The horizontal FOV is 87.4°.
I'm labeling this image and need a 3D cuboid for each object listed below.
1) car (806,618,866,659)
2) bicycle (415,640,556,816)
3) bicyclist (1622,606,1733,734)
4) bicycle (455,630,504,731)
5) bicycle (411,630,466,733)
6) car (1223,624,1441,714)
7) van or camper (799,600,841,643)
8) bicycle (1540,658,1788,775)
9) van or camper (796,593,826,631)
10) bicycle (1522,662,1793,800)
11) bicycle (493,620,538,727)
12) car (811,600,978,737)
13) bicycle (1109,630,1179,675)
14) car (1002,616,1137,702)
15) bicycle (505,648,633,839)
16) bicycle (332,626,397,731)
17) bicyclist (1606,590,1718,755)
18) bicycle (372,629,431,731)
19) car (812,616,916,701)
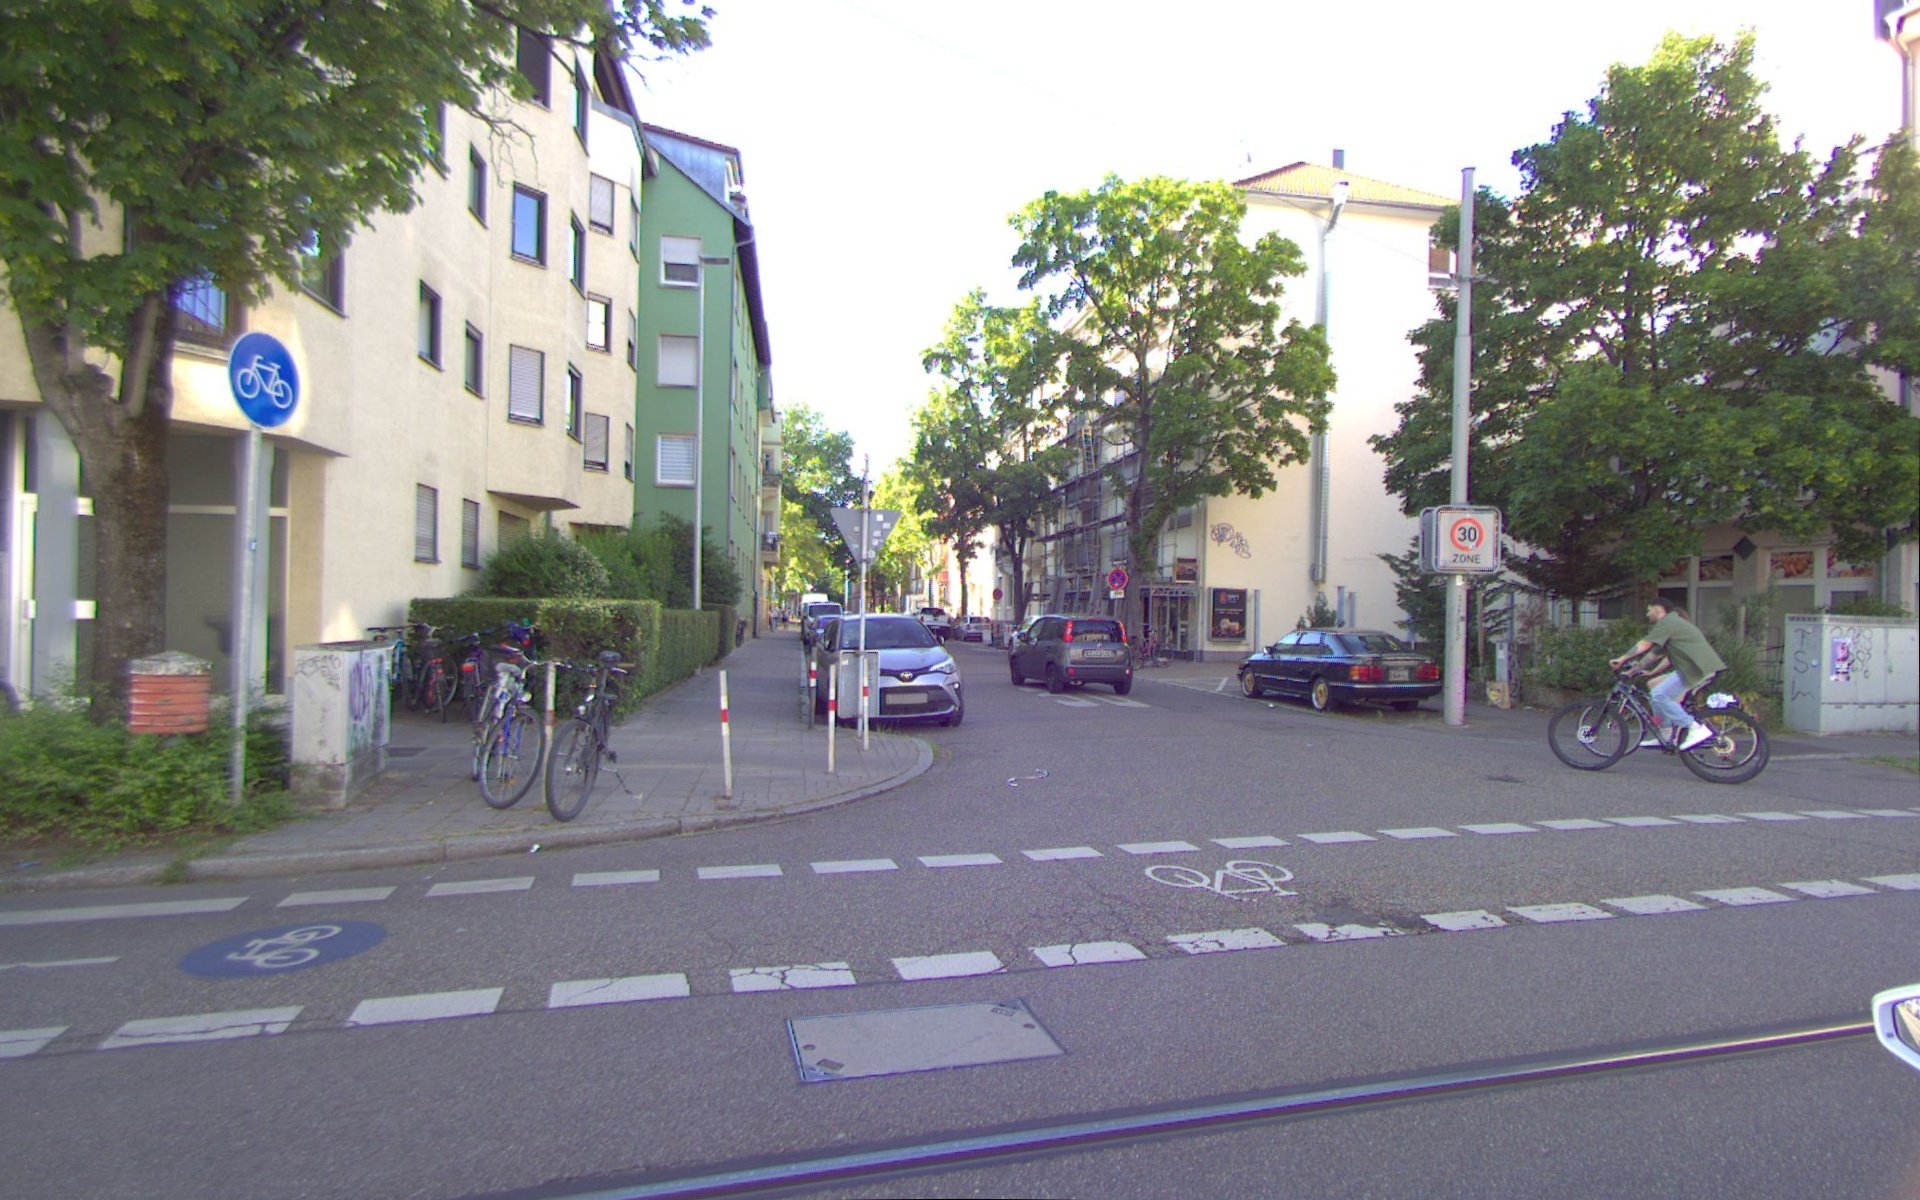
[{"bbox_3d":[-4.874,1.457,38.938,1.951,1.475,4.104,0,-1,-12],"label":"car"},{"bbox_3d":[-3.472,0.874,7.491,0.585,1.099,1.807,1,-1,-14],"label":"bicycle"},{"bbox_3d":[8.151,0.802,11.454,0.851,1.398,0.625,-2,-5,24],"label":"bicyclist"},{"bbox_3d":[-5.652,0.915,11.852,0.327,1.060,1.388,1,1,-18],"label":"bicycle"},{"bbox_3d":[-6.054,0.911,11.691,0.327,1.060,1.388,1,1,-18],"label":"bicycle"},{"bbox_3d":[6.548,1.220,18.266,1.683,1.406,4.564,2,-3,-9],"label":"car"},{"bbox_3d":[-7.024,1.058,50.203,1.963,2.040,4.904,1,-1,-9],"label":"van or camper"},{"bbox_3d":[7.948,1.292,11.493,2.190,1.164,0.842,1,-4,24],"label":"bicycle"},{"bbox_3d":[-10.771,0.881,72.284,1.964,2.587,5.014,1,-1,-10],"label":"van or camper"},{"bbox_3d":[7.064,1.280,10.321,2.194,1.164,0.839,1,-1,33],"label":"bicycle"},{"bbox_3d":[-5.294,0.844,12.001,0.327,1.159,1.388,1,1,-18],"label":"bicycle"},{"bbox_3d":[-1.097,0.884,14.629,1.876,1.682,3.991,-1,-1,-12],"label":"car"},{"bbox_3d":[5.311,1.502,28.942,1.961,1.181,0.721,-1,1,-27],"label":"bicycle"},{"bbox_3d":[2.115,1.140,20.346,1.536,1.553,3.476,2,-2,-15],"label":"car"},{"bbox_3d":[-2.711,0.927,7.122,0.585,1.099,1.878,1,-1,-14],"label":"bicycle"},{"bbox_3d":[-6.766,0.860,11.456,0.327,1.060,1.388,1,1,-18],"label":"bicycle"},{"bbox_3d":[7.151,0.737,10.282,0.853,1.581,0.882,-2,-4,33],"label":"bicyclist"},{"bbox_3d":[-6.477,0.897,11.692,0.327,1.060,1.388,1,1,-18],"label":"bicycle"},{"bbox_3d":[-2.053,1.100,20.444,1.727,1.517,4.127,-1,-1,-11],"label":"car"}]
